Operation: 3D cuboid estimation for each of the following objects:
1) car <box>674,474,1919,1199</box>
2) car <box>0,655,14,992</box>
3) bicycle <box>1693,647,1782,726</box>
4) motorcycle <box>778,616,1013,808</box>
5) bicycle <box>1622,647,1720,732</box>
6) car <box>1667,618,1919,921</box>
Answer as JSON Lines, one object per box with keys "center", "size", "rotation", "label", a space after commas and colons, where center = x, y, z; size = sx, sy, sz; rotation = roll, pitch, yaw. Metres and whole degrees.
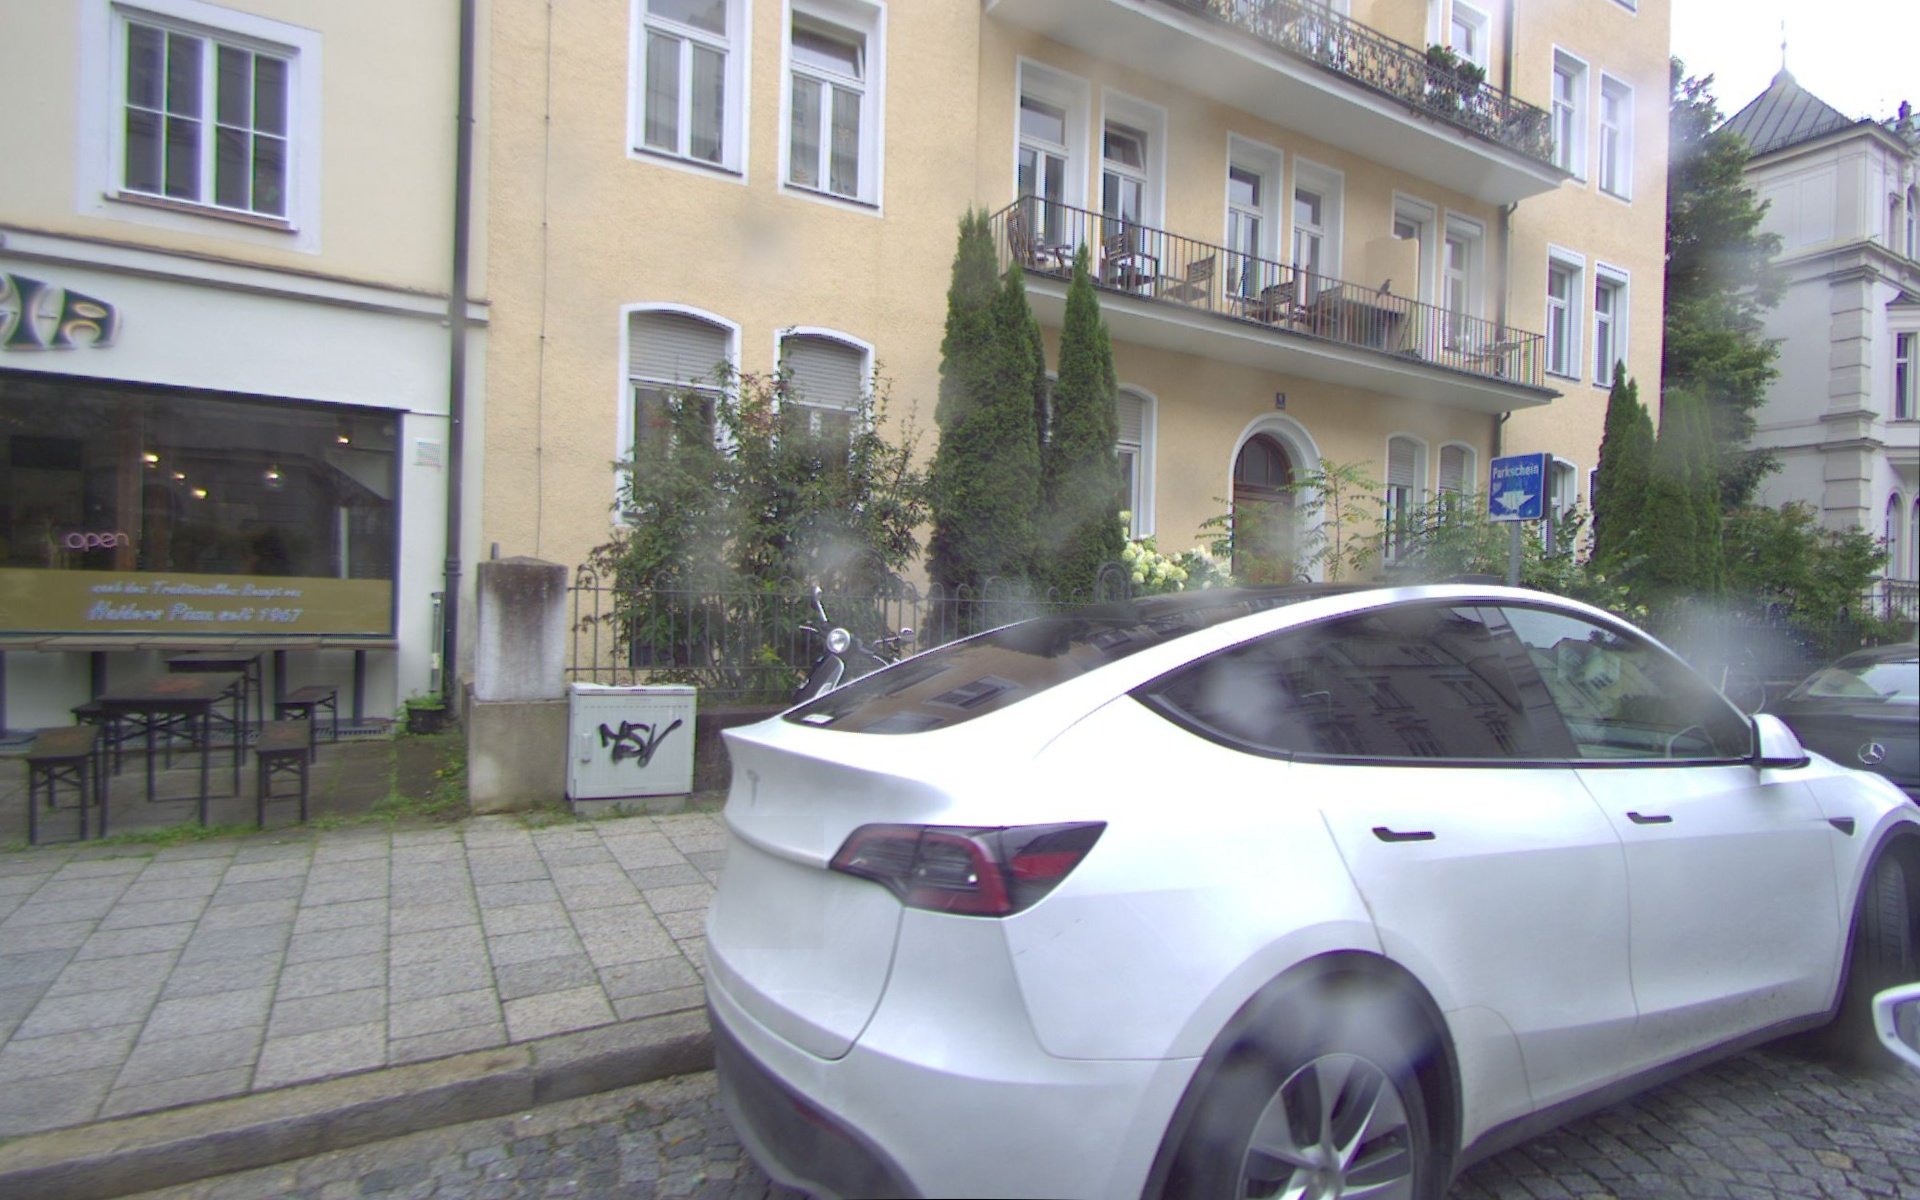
{"center": [1.452, 0.693, 3.368], "size": [4.338, 1.669, 1.766], "rotation": [2, 0, -29], "label": "car"}
{"center": [-3.648, 0.726, 0.465], "size": [4.342, 1.377, 1.764], "rotation": [2, -3, -32], "label": "car"}
{"center": [10.548, 1.156, 13.616], "size": [1.553, 1.016, 0.350], "rotation": [2, 0, -29], "label": "bicycle"}
{"center": [-0.428, 0.744, 7.022], "size": [1.561, 1.210, 0.488], "rotation": [2, 0, -31], "label": "motorcycle"}
{"center": [9.093, 1.128, 12.829], "size": [1.553, 1.016, 0.350], "rotation": [2, 0, -29], "label": "bicycle"}
{"center": [6.483, 0.909, 6.225], "size": [4.339, 1.448, 1.765], "rotation": [2, 0, -30], "label": "car"}
